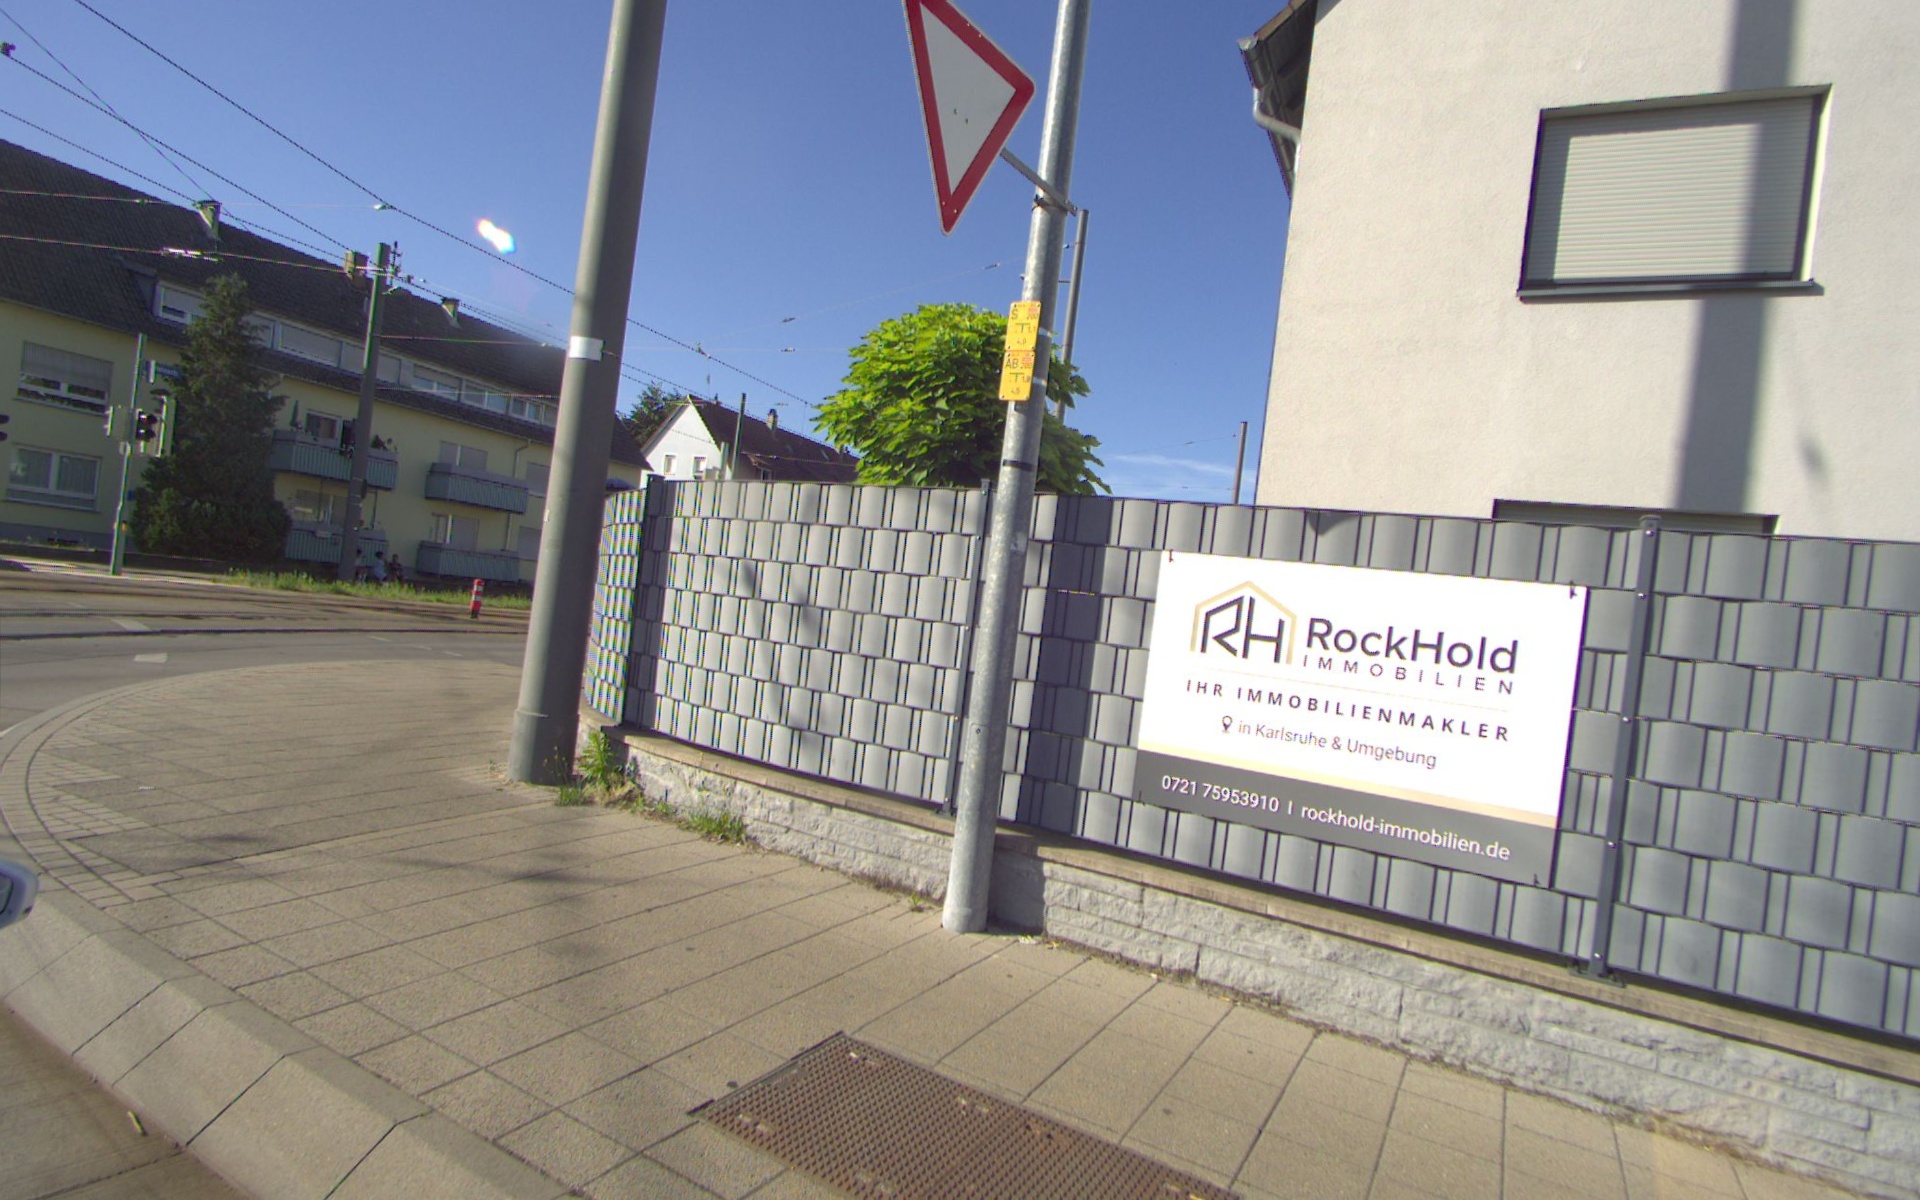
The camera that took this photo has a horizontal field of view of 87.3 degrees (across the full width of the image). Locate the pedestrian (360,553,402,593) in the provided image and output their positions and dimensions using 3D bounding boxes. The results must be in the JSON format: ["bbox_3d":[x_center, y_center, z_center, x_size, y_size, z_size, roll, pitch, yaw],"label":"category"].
[{"bbox_3d":[-17.943,-0.826,31.188,0.806,1.077,0.626,8,-1,-6],"label":"pedestrian"}]

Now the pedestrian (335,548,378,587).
[{"bbox_3d":[-18.210,-0.978,30.361,0.805,1.059,0.688,7,-1,24],"label":"pedestrian"}]

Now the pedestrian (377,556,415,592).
[{"bbox_3d":[-17.842,-0.808,31.840,0.711,1.017,0.596,8,-1,3],"label":"pedestrian"}]
